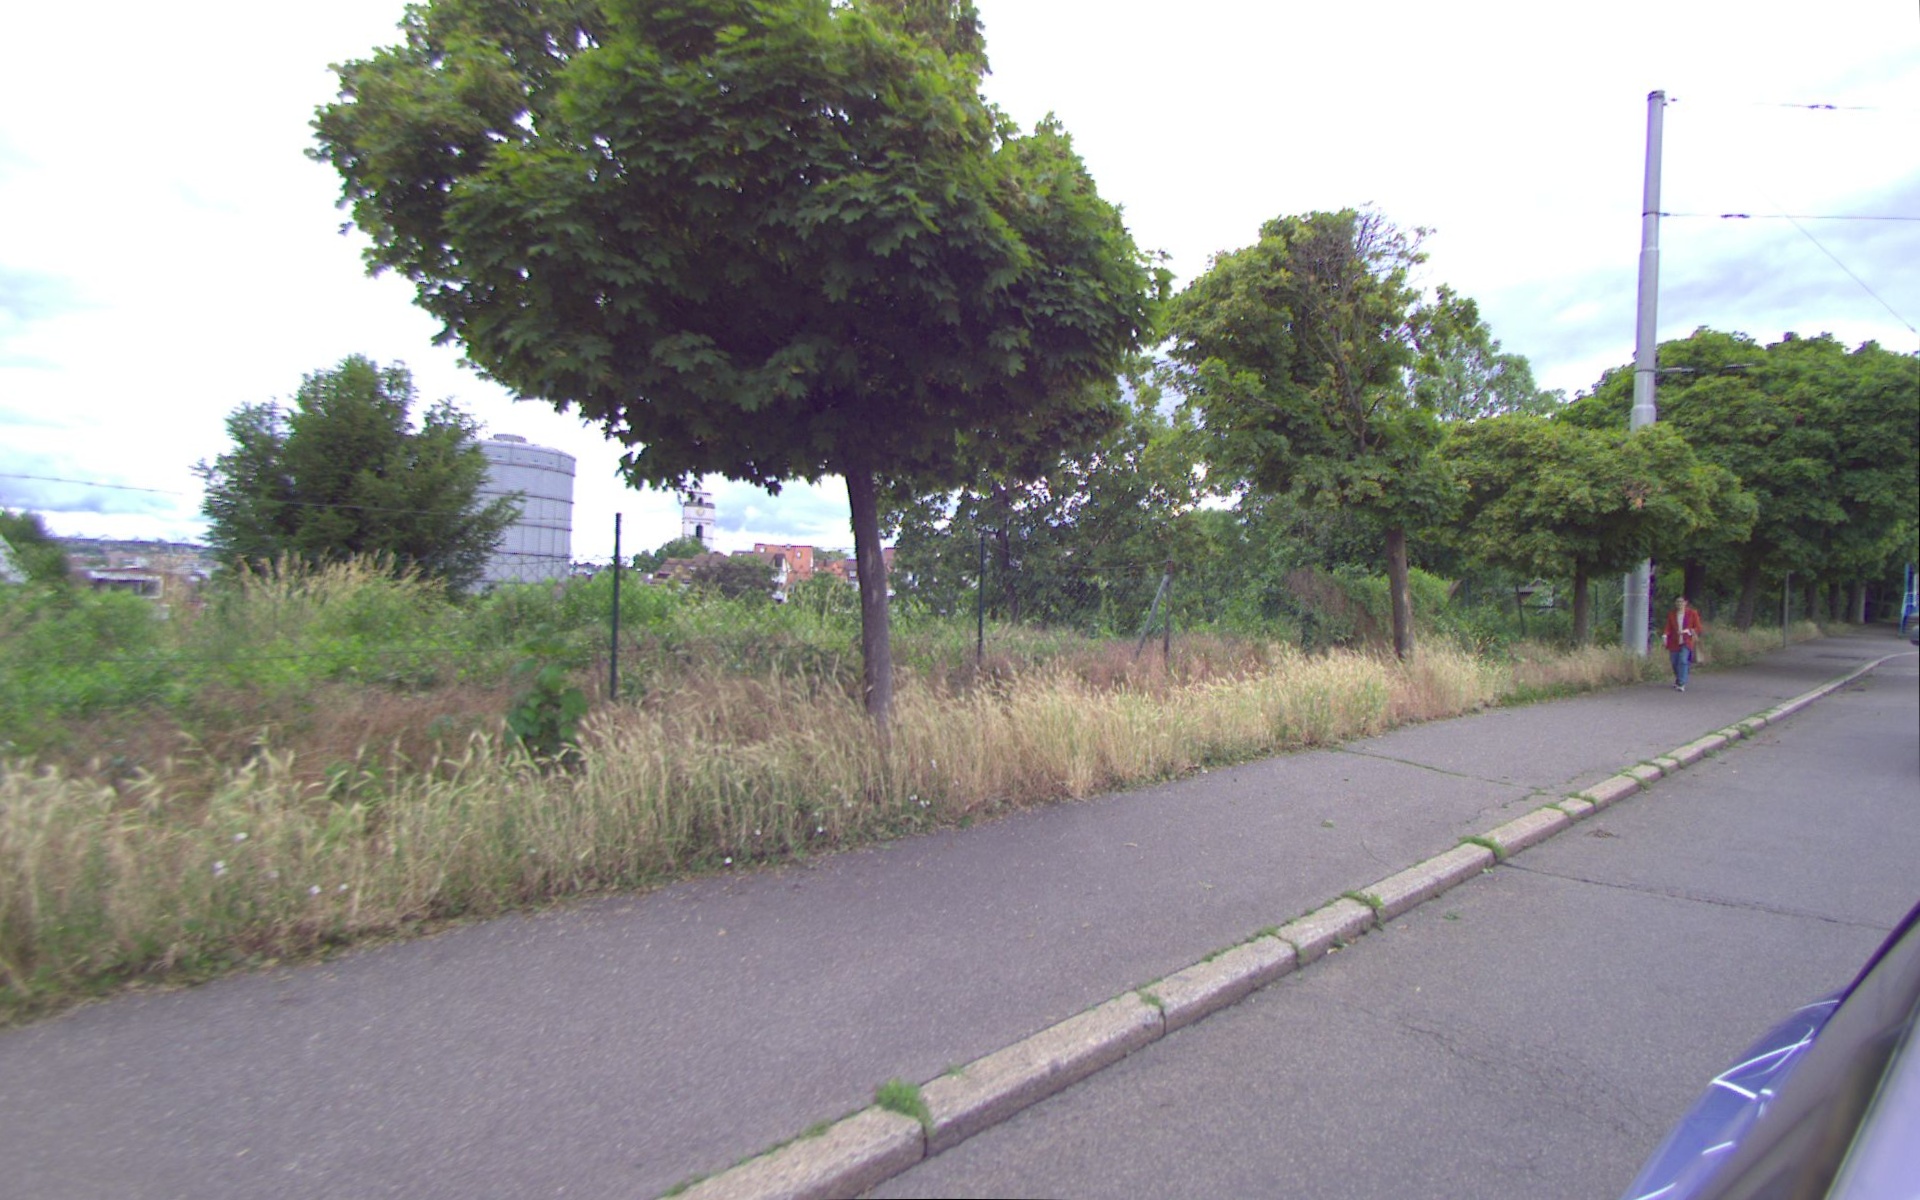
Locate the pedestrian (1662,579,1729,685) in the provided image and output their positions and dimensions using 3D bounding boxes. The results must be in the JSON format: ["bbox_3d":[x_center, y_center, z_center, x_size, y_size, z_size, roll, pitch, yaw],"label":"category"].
[{"bbox_3d":[11.845,0.490,16.296,0.706,1.641,0.716,0,2,-43],"label":"pedestrian"}]
